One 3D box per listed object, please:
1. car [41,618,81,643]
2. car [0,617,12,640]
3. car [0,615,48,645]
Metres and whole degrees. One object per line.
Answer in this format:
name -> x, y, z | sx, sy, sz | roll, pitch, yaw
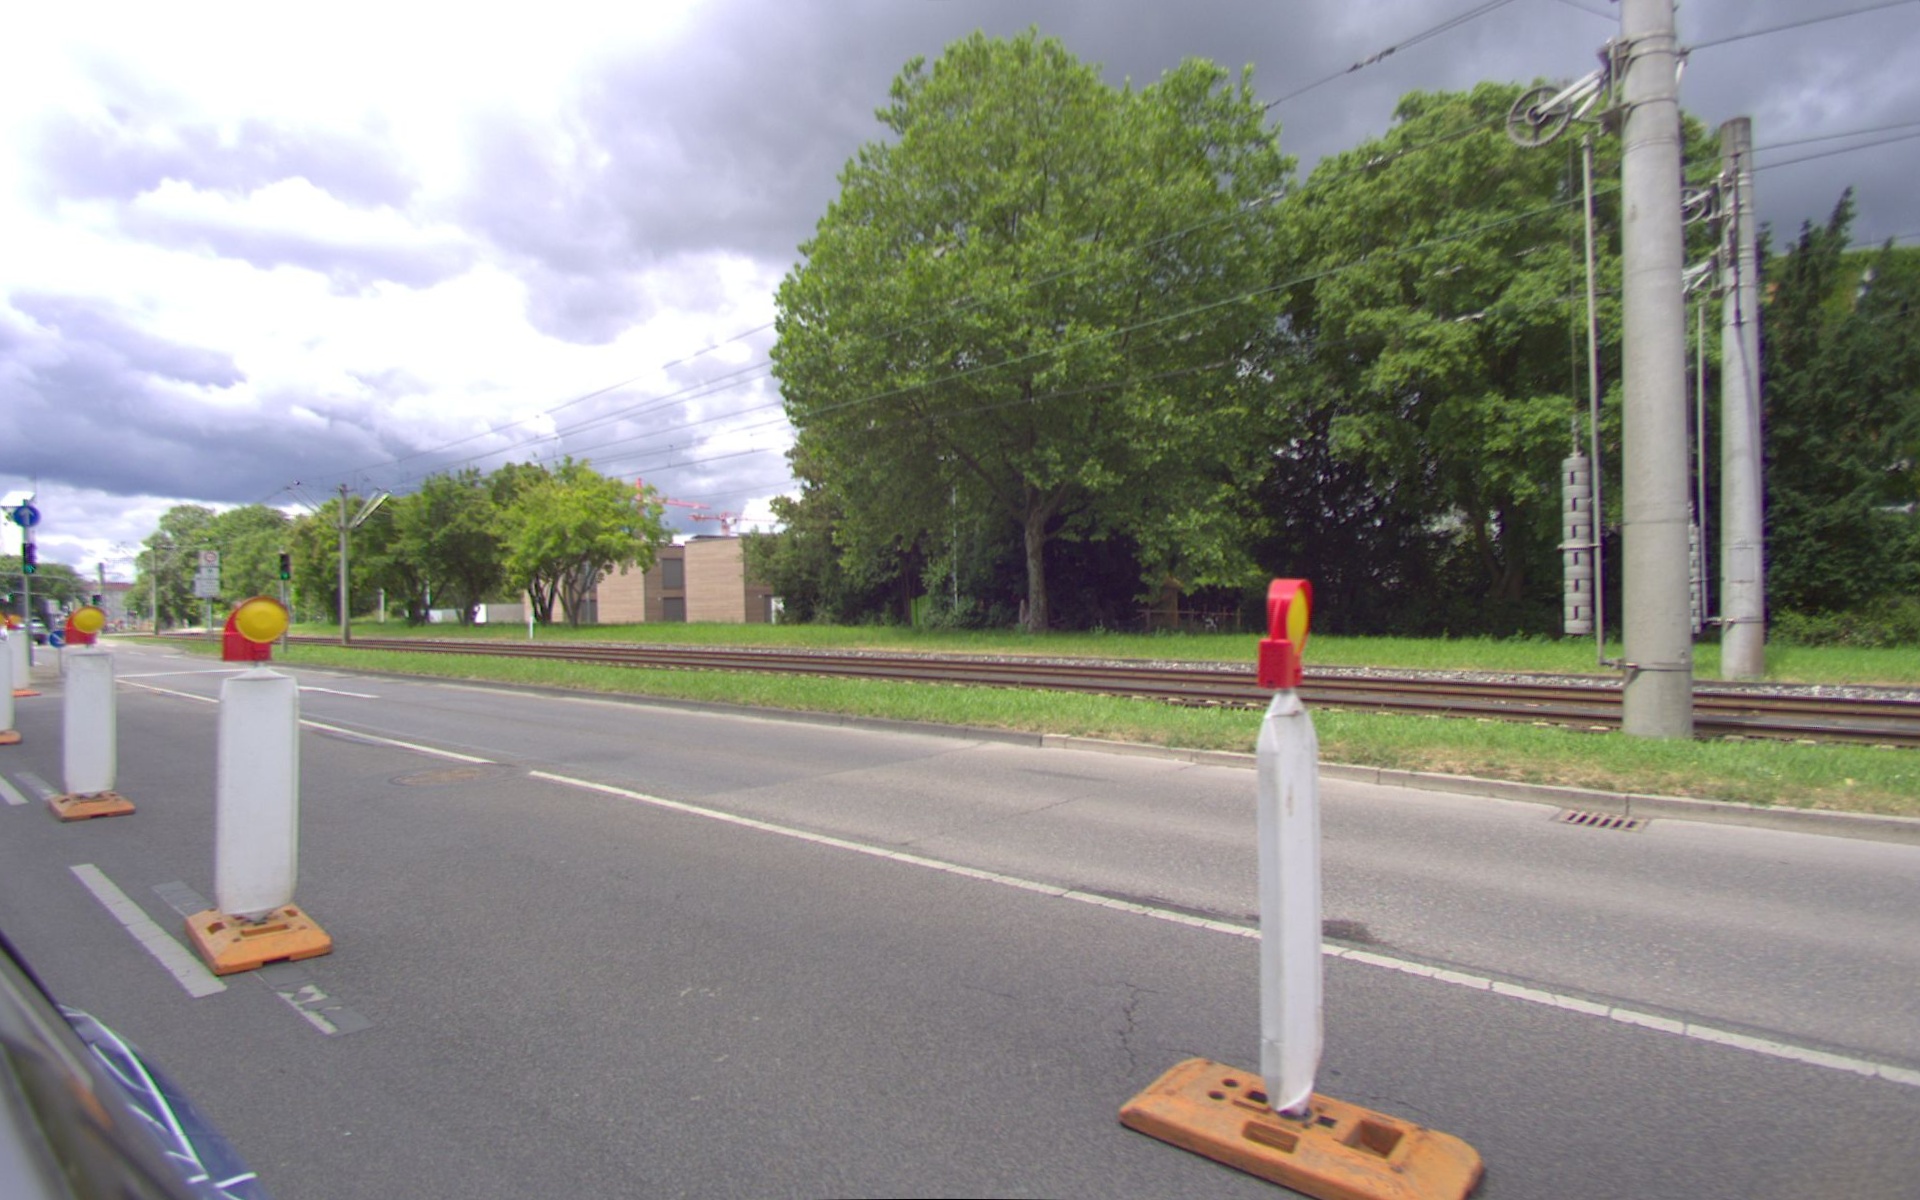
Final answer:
car -> -65.647, 2.203, 73.890 | 1.970, 1.672, 4.525 | -1, 1, -44
car -> -70.634, 2.094, 73.785 | 4.261, 1.624, 1.711 | 0, 2, 41
car -> -53.744, 1.701, 57.935 | 4.608, 1.622, 1.840 | -1, -2, 43
